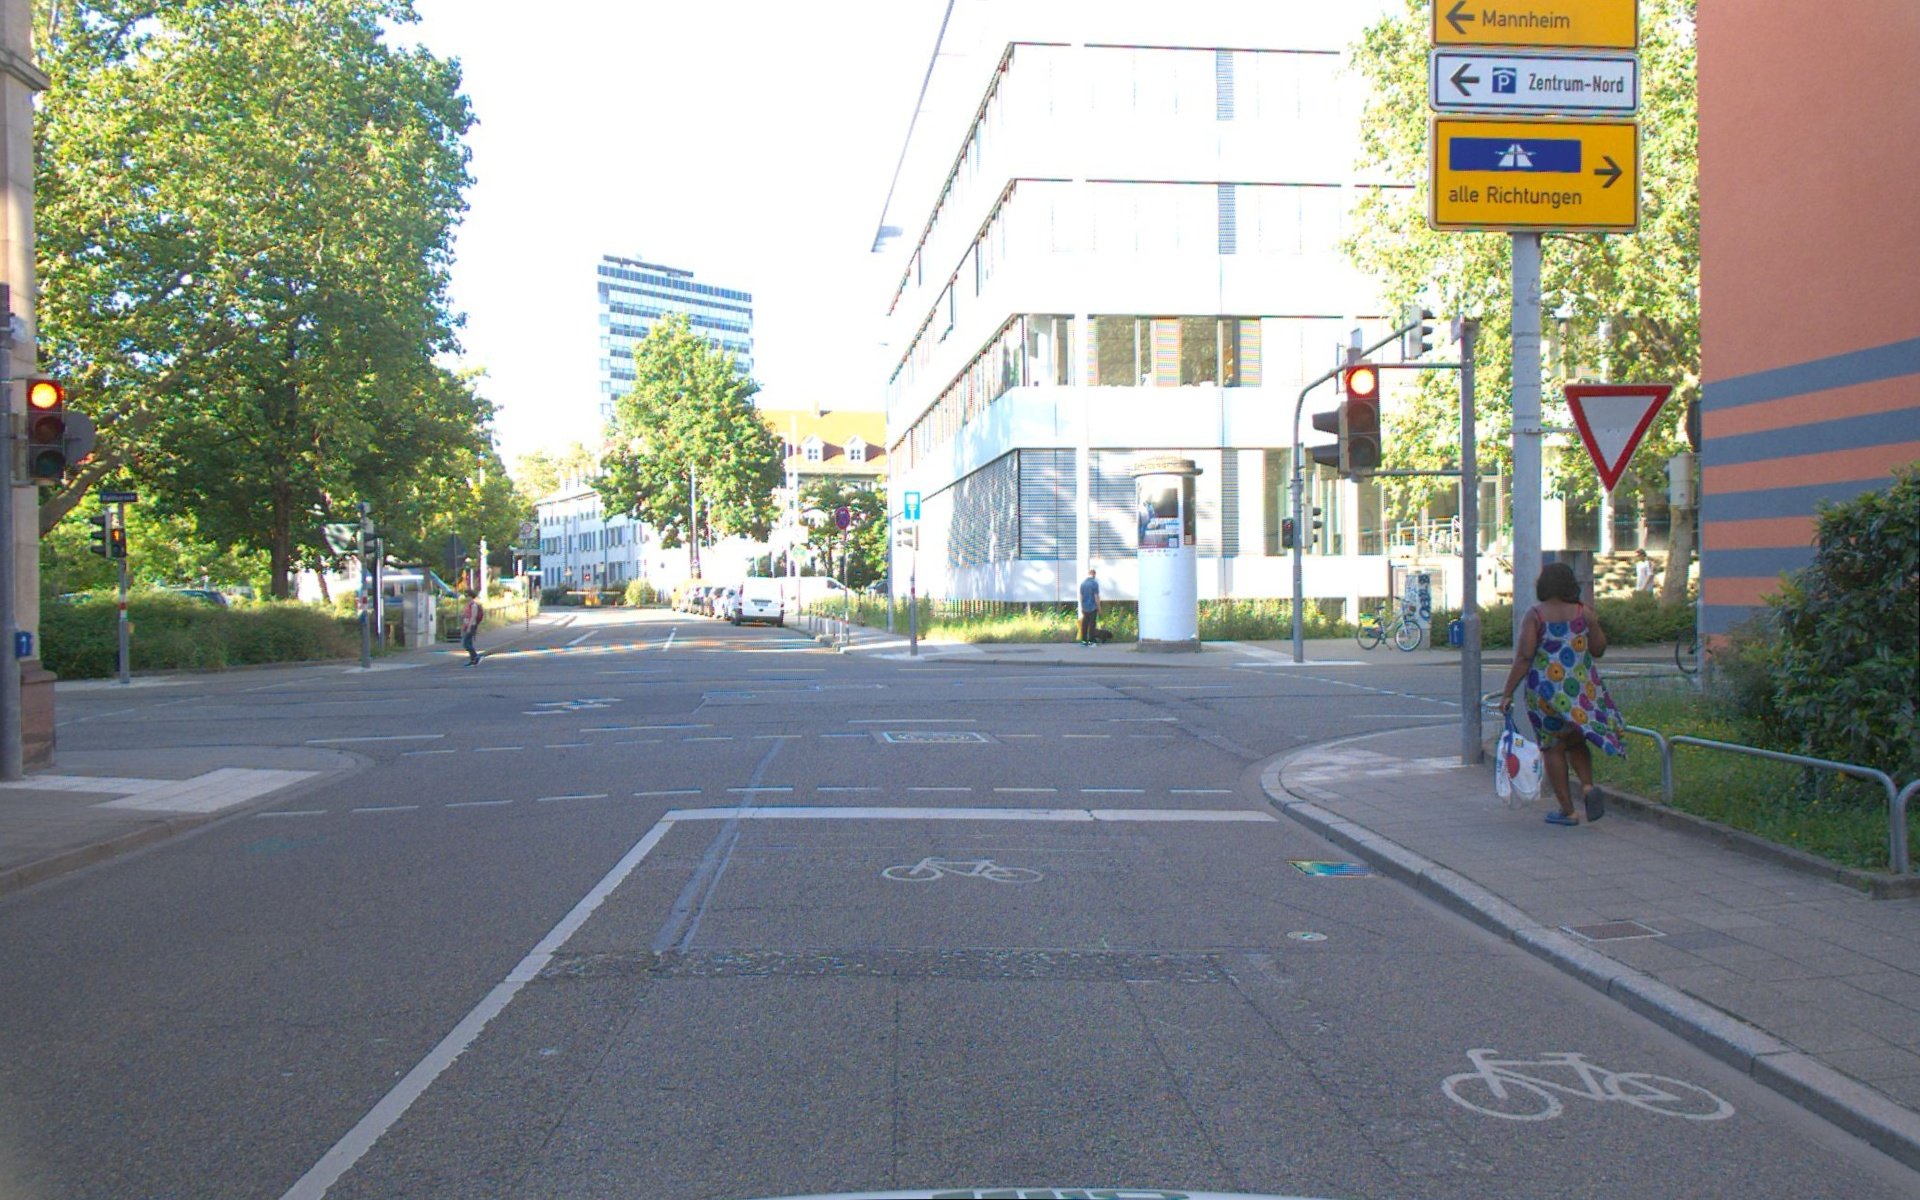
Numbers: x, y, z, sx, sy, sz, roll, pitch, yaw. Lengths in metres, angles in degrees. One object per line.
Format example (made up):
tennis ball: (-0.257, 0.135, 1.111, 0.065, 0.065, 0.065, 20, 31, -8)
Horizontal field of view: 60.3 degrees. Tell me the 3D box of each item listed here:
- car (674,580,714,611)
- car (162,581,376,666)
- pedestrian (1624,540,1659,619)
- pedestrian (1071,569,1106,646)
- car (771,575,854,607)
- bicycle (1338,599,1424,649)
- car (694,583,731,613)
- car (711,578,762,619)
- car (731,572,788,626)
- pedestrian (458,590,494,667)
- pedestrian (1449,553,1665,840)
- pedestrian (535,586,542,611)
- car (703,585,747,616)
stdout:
car: (-15.386, -0.261, 95.451, 2.063, 1.687, 4.463, -1, 1, -11)
car: (-15.768, 0.511, 37.930, 4.146, 1.808, 1.901, -1, 0, -9)
pedestrian: (16.213, -0.491, 39.382, 0.526, 1.863, 1.042, -1, 0, 9)
pedestrian: (3.017, 0.168, 38.884, 0.640, 1.766, 0.810, -1, 0, -9)
car: (-9.172, -0.545, 102.704, 4.804, 1.905, 1.990, 1, -1, -17)
bicycle: (9.219, 0.518, 36.275, 0.460, 1.067, 1.886, -1, 0, -42)
car: (-12.857, -0.130, 85.667, 1.674, 1.490, 4.226, -1, 1, -11)
car: (-10.338, -0.079, 76.332, 1.913, 1.826, 4.224, -1, 1, -13)
car: (-7.868, -0.058, 64.547, 2.029, 1.997, 4.229, -1, 0, -9)
pedestrian: (-10.414, 0.611, 35.603, 0.700, 1.627, 0.615, -1, 0, -15)
pedestrian: (3.575, 0.557, 9.974, 0.934, 1.600, 0.750, -4, 0, 0)
pedestrian: (-26.228, -0.098, 102.948, 0.373, 1.561, 0.444, -1, 0, -13)
car: (-11.534, 0.011, 81.030, 1.675, 1.449, 4.223, -1, 1, -14)
